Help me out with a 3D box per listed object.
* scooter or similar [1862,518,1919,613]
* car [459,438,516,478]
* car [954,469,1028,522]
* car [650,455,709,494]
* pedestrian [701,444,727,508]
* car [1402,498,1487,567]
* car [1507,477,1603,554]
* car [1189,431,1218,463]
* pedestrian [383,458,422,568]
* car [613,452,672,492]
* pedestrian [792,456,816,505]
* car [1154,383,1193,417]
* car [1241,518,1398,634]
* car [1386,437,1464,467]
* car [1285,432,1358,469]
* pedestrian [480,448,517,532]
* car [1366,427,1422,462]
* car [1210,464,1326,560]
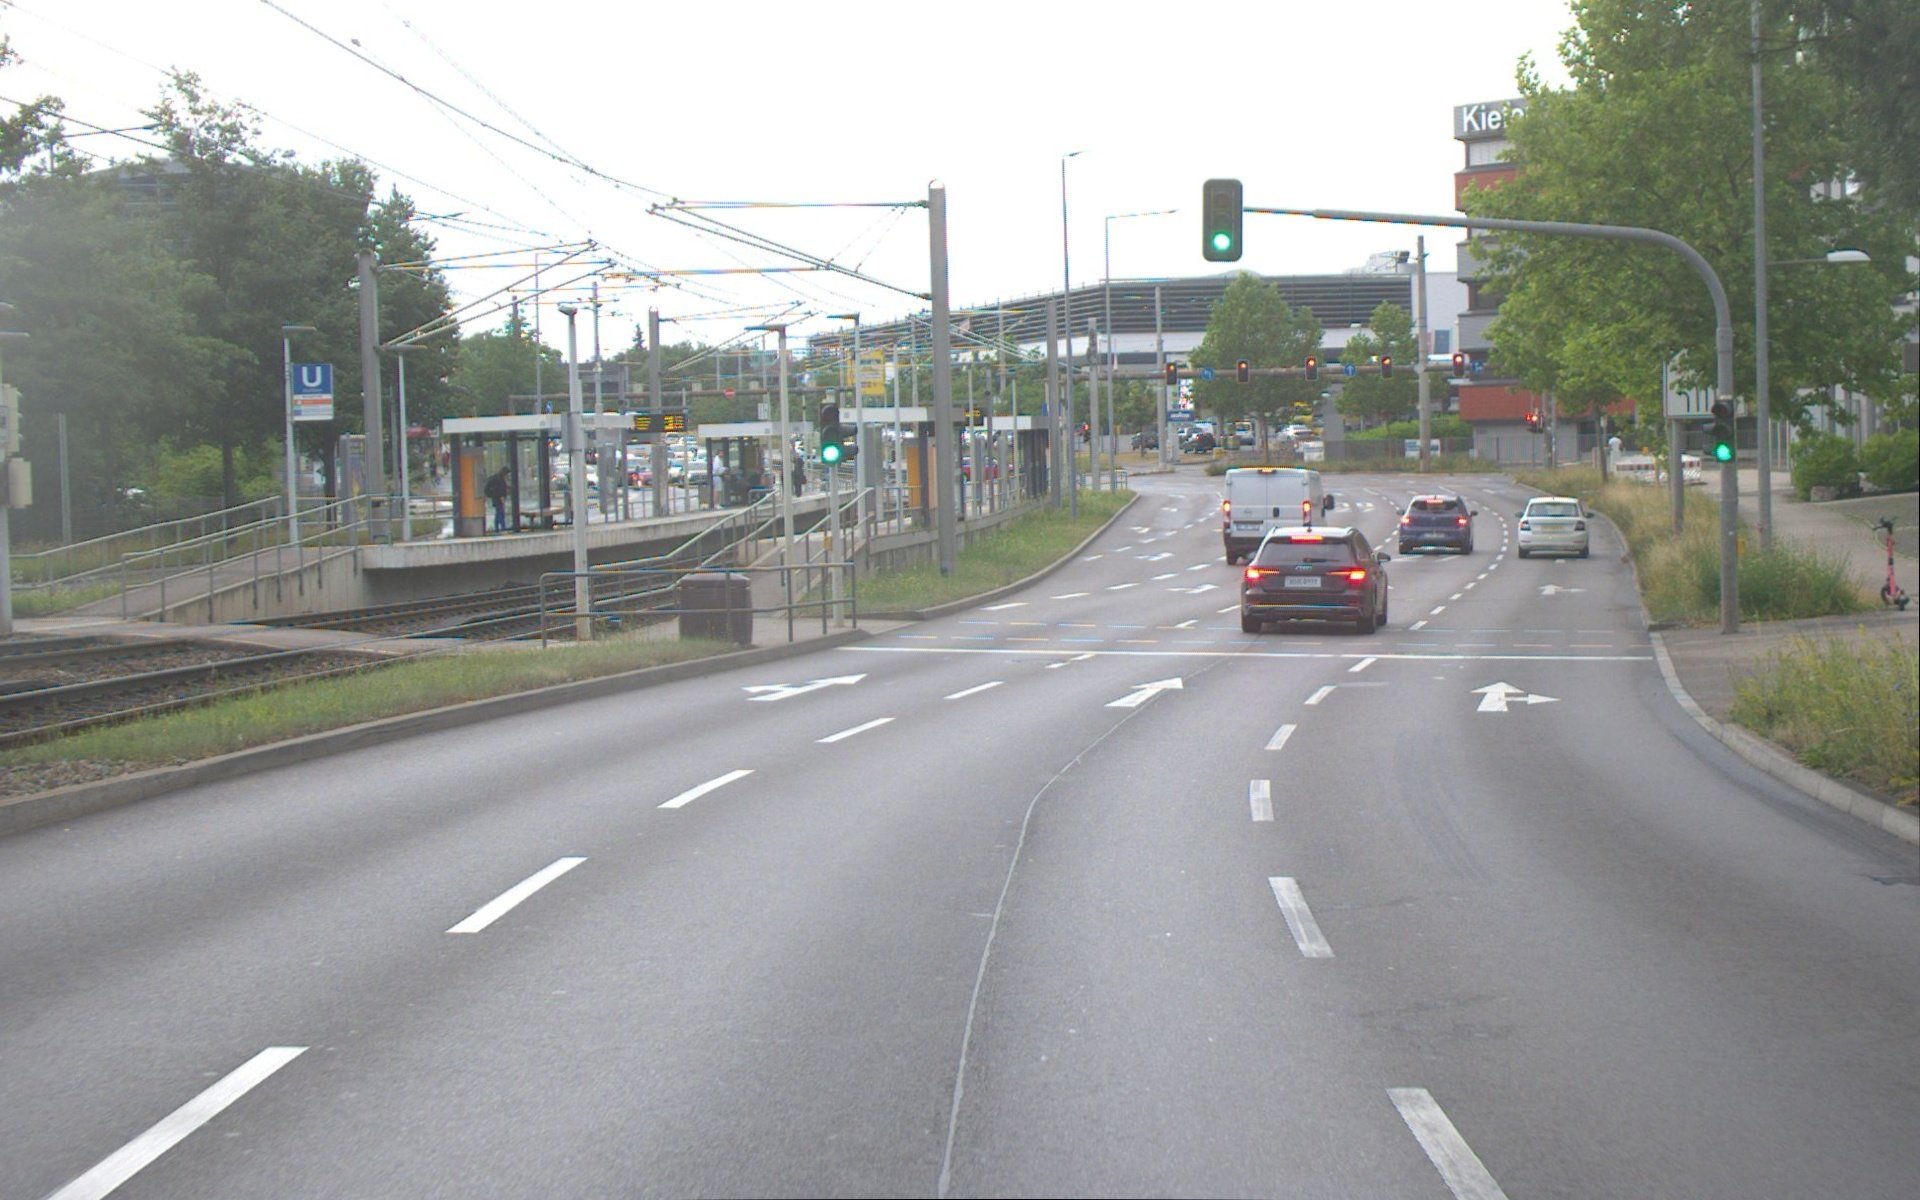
[{"bbox_3d":[12.785,-0.477,47.191,0.457,1.259,1.337,-3,1,3],"label":"scooter or similar"},{"bbox_3d":[-26.204,-7.853,190.673,1.993,2.007,4.001,1,-1,-25],"label":"car"},{"bbox_3d":[1.006,-3.349,109.312,1.994,1.447,3.848,0,5,6],"label":"car"},{"bbox_3d":[-15.789,-7.062,193.529,1.993,2.007,4.001,1,-1,-25],"label":"car"},{"bbox_3d":[-7.942,-4.000,110.971,0.689,2.073,0.714,0,2,11],"label":"pedestrian"},{"bbox_3d":[12.131,-1.687,86.313,2.022,1.617,3.999,0,0,7],"label":"car"},{"bbox_3d":[14.535,-2.097,84.189,2.021,1.763,4.000,0,3,6],"label":"car"},{"bbox_3d":[17.117,-10.754,241.782,1.818,2.007,3.471,0,0,1],"label":"car"},{"bbox_3d":[-9.999,-1.556,61.645,0.549,1.946,0.664,0,-1,2],"label":"pedestrian"},{"bbox_3d":[-17.613,-7.092,190.856,1.993,2.007,4.001,1,-1,-25],"label":"car"},{"bbox_3d":[-5.653,-4.330,124.799,0.752,1.745,0.764,0,-1,6],"label":"pedestrian"},{"bbox_3d":[14.022,-13.135,226.035,1.993,2.007,4.000,0,0,-5],"label":"car"},{"bbox_3d":[5.005,-0.364,47.451,1.765,1.458,4.625,-1,2,11],"label":"car"},{"bbox_3d":[25.331,-8.067,187.428,2.021,1.617,4.000,-1,2,-35],"label":"car"},{"bbox_3d":[20.705,-8.563,196.929,1.994,2.006,4.000,0,2,-35],"label":"car"},{"bbox_3d":[-10.314,-2.454,76.844,0.637,1.848,0.750,0,-1,5],"label":"pedestrian"},{"bbox_3d":[27.729,-9.909,219.688,1.993,2.007,4.001,0,-1,-19],"label":"car"},{"bbox_3d":[7.290,-2.101,80.833,2.512,2.169,5.148,0,2,7],"label":"car"}]
